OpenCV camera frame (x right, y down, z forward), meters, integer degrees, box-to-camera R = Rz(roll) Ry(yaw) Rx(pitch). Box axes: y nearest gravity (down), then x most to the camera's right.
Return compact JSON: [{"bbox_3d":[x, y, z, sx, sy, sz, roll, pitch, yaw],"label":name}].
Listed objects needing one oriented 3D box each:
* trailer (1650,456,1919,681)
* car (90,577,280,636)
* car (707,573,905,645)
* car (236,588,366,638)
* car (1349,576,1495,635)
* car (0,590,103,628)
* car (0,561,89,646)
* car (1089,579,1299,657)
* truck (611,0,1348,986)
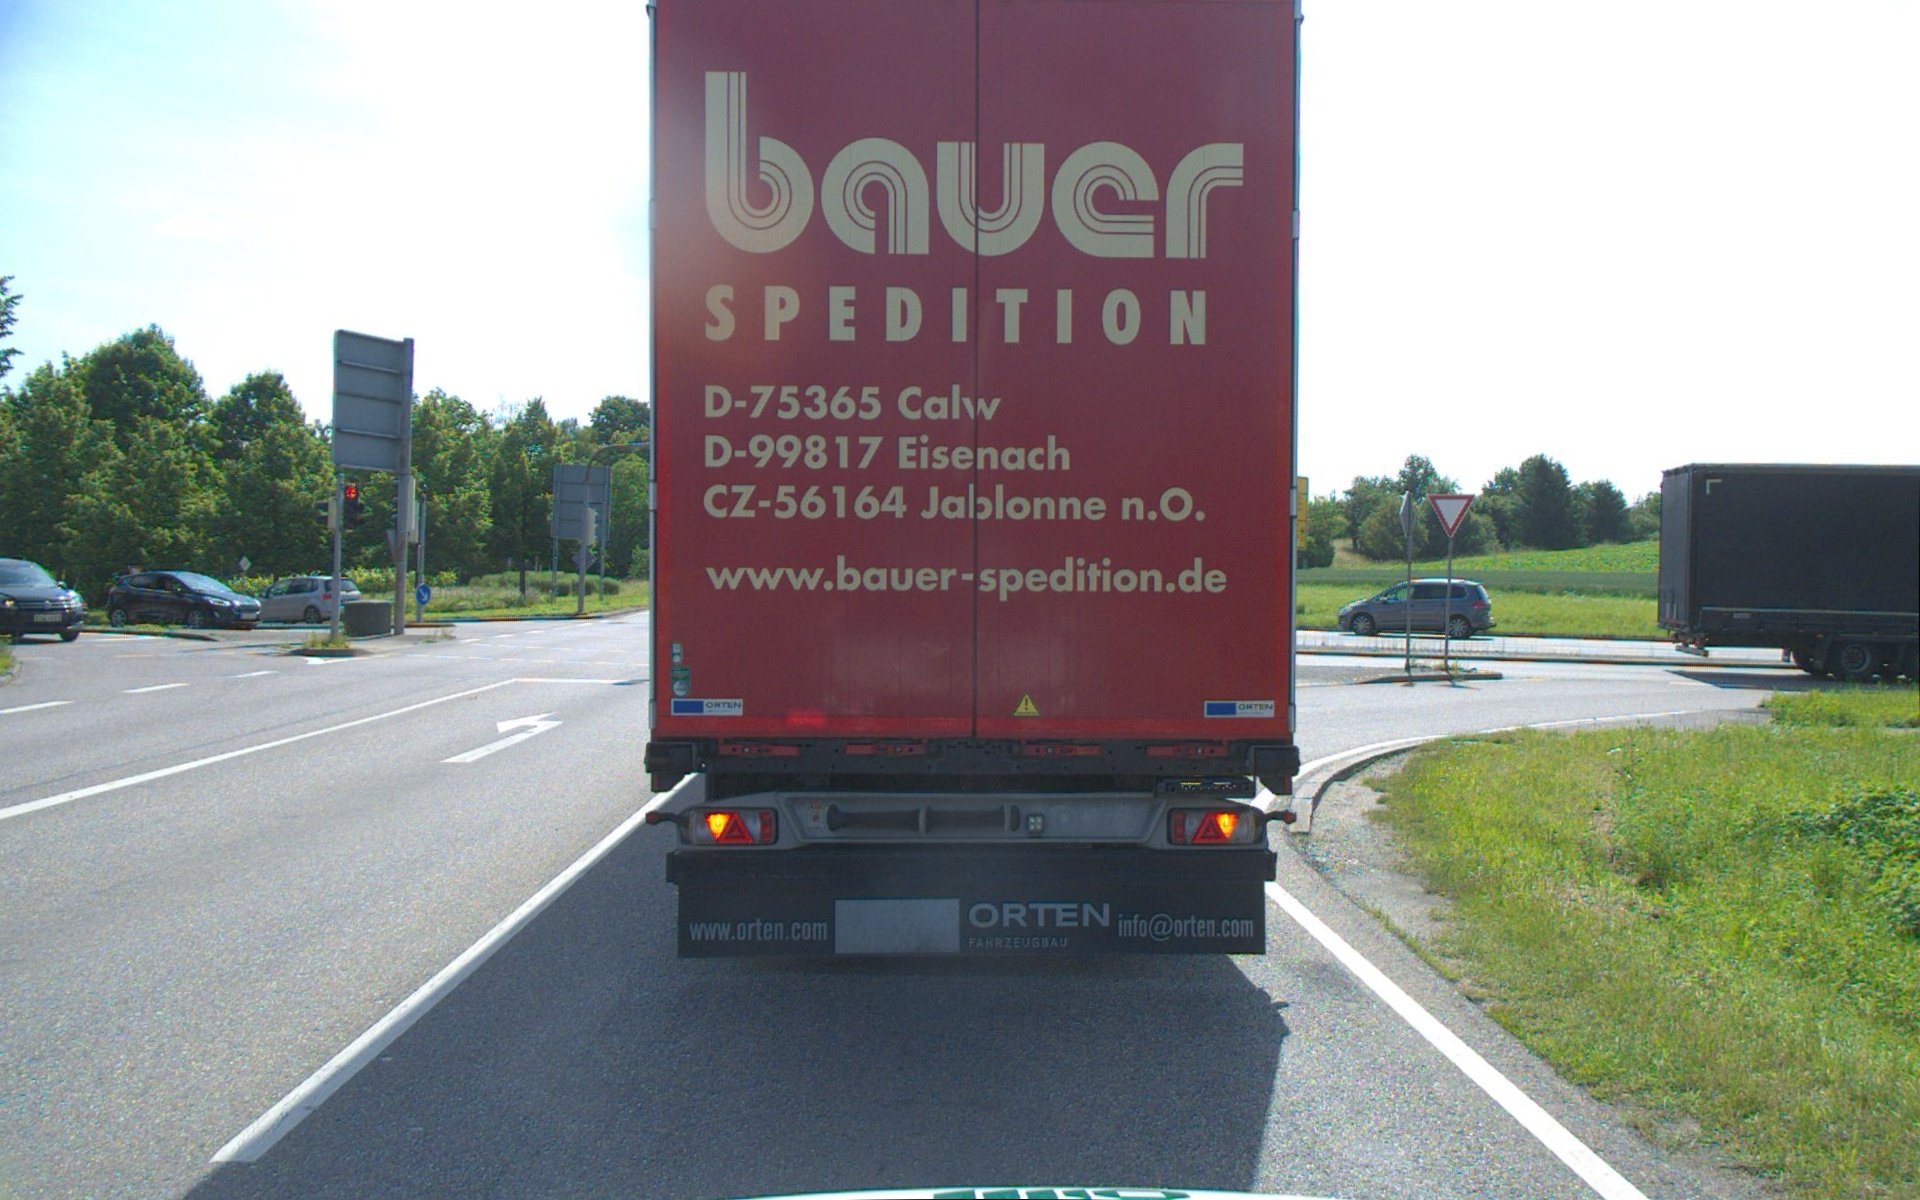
[{"bbox_3d":[20.555,-0.549,31.400,13.392,4.132,2.801,1,1,11],"label":"trailer"},{"bbox_3d":[-19.146,0.149,40.882,4.178,1.328,1.742,1,0,19],"label":"car"},{"bbox_3d":[-3.386,0.172,36.523,3.949,1.441,1.796,1,1,15],"label":"car"},{"bbox_3d":[-20.965,0.407,52.630,3.915,1.517,1.537,1,-1,24],"label":"car"},{"bbox_3d":[13.581,0.148,48.653,3.908,1.624,1.663,1,0,25],"label":"car"},{"bbox_3d":[-33.347,0.321,60.690,4.196,1.328,1.735,1,0,36],"label":"car"},{"bbox_3d":[-19.357,0.027,33.941,1.793,1.625,4.207,-1,1,-40],"label":"car"},{"bbox_3d":[4.904,0.343,34.459,4.156,1.486,1.811,1,1,13],"label":"car"},{"bbox_3d":[-0.075,-0.669,14.411,2.679,3.993,16.622,1,1,-1],"label":"truck"}]
